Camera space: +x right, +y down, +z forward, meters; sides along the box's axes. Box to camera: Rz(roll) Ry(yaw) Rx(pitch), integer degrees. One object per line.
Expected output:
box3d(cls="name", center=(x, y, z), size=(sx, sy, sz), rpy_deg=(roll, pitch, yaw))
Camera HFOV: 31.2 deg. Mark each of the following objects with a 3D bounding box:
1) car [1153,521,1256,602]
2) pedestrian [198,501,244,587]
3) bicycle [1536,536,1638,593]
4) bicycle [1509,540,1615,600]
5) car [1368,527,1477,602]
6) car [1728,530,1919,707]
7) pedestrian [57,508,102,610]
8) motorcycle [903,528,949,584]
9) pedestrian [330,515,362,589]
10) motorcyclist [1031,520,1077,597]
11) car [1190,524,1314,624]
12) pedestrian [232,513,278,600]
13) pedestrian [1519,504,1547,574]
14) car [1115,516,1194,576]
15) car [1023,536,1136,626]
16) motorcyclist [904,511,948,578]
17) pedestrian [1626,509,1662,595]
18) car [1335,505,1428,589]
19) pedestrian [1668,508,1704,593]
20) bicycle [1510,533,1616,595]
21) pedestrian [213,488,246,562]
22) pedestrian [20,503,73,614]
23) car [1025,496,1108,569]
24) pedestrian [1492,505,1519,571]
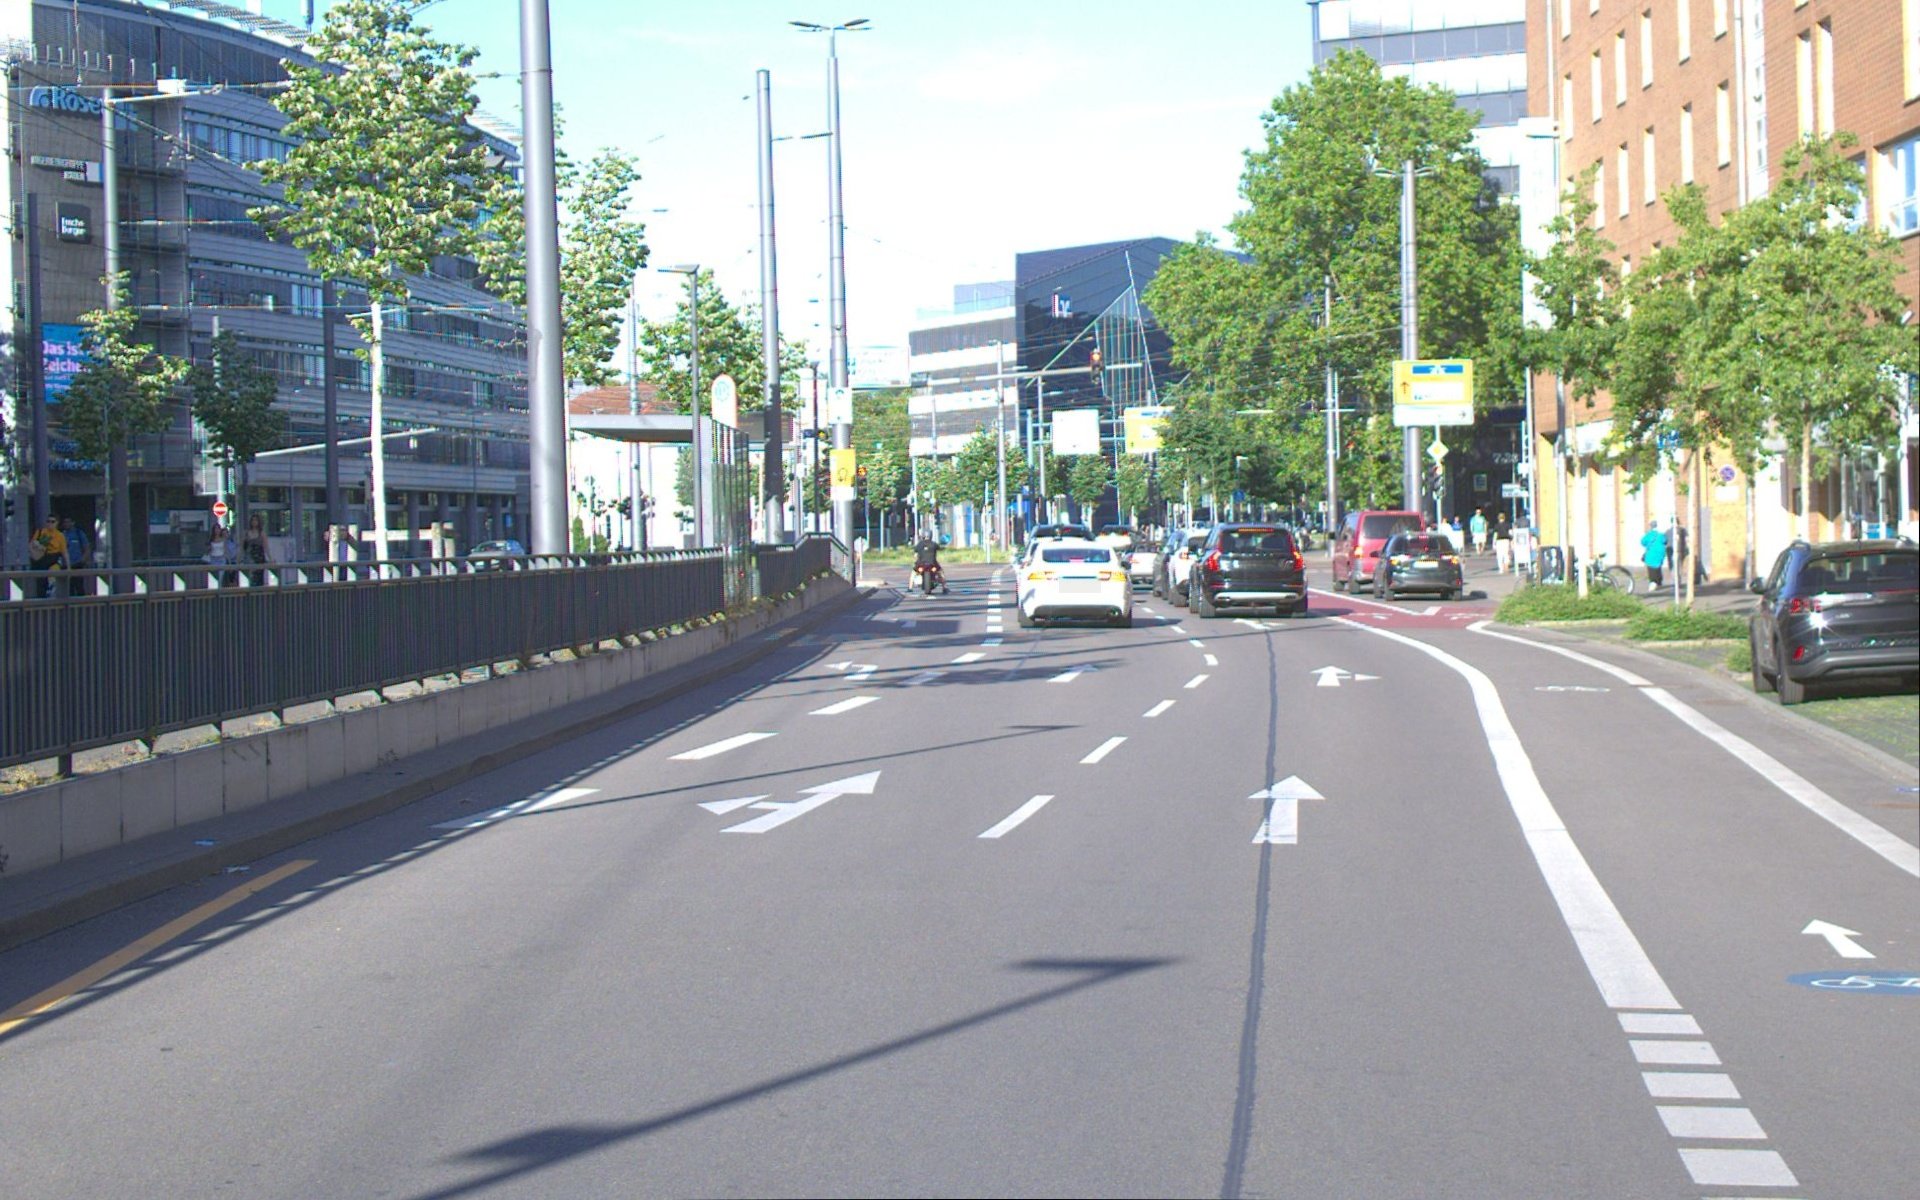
box3d(cls="car", center=(5.052, -0.823, 71.607), size=(1.851, 1.634, 4.379), rpy_deg=(0, 1, 0))
box3d(cls="pedestrian", center=(-14.029, -1.073, 65.254), size=(0.640, 1.602, 0.945), rpy_deg=(1, 1, 1))
box3d(cls="bicycle", center=(12.474, -0.713, 68.426), size=(1.946, 1.071, 0.625), rpy_deg=(-2, 1, 13))
box3d(cls="bicycle", center=(11.478, -0.576, 65.544), size=(1.946, 1.071, 0.554), rpy_deg=(-2, 1, 12))
box3d(cls="car", center=(10.222, -0.818, 76.215), size=(1.846, 1.555, 4.633), rpy_deg=(1, 1, 1))
box3d(cls="car", center=(8.901, 0.133, 34.880), size=(1.721, 1.631, 4.230), rpy_deg=(-2, 1, 7))
box3d(cls="pedestrian", center=(-14.947, -0.701, 58.374), size=(0.582, 1.732, 0.616), rpy_deg=(0, 1, 1))
box3d(cls="motorcycle", center=(-0.821, -1.089, 84.197), size=(1.019, 1.307, 2.914), rpy_deg=(1, 1, 1))
box3d(cls="pedestrian", center=(-15.171, -1.199, 84.932), size=(0.614, 1.811, 0.897), rpy_deg=(0, 1, 1))
box3d(cls="motorcyclist", center=(1.831, -0.811, 67.215), size=(0.837, 1.470, 1.236), rpy_deg=(-1, 1, 0))
box3d(cls="car", center=(5.388, -0.518, 64.008), size=(1.975, 1.753, 4.633), rpy_deg=(1, 1, 1))
box3d(cls="pedestrian", center=(-13.380, -0.828, 65.254), size=(0.640, 1.637, 0.945), rpy_deg=(1, 1, 1))
box3d(cls="pedestrian", center=(15.112, -1.606, 90.701), size=(0.606, 1.815, 0.748), rpy_deg=(-1, 1, 0))
box3d(cls="car", center=(4.990, -1.408, 88.712), size=(1.851, 1.492, 4.379), rpy_deg=(0, 2, 1))
box3d(cls="car", center=(1.993, -0.361, 58.563), size=(1.780, 1.409, 4.819), rpy_deg=(1, 1, 1))
box3d(cls="motorcyclist", center=(-0.822, -1.367, 84.223), size=(1.019, 1.598, 1.148), rpy_deg=(1, 1, 1))
box3d(cls="pedestrian", center=(14.687, -1.032, 73.805), size=(0.606, 1.815, 0.748), rpy_deg=(-1, 1, 0))
box3d(cls="car", center=(10.091, -1.294, 82.594), size=(1.860, 1.954, 4.000), rpy_deg=(-1, 1, 2))
box3d(cls="pedestrian", center=(15.747, -1.074, 74.610), size=(0.606, 1.815, 0.748), rpy_deg=(-1, 1, 0))
box3d(cls="bicycle", center=(11.587, -0.694, 66.061), size=(1.946, 1.133, 0.490), rpy_deg=(-2, 1, 12))
box3d(cls="pedestrian", center=(-15.748, -1.619, 74.120), size=(0.563, 1.603, 0.616), rpy_deg=(0, 1, 1))
box3d(cls="pedestrian", center=(-14.085, -0.641, 53.011), size=(0.640, 1.690, 0.541), rpy_deg=(1, 1, 1))
box3d(cls="car", center=(2.240, -1.450, 73.135), size=(1.693, 1.491, 4.409), rpy_deg=(1, 1, 1))
box3d(cls="pedestrian", center=(15.080, -1.712, 95.012), size=(0.606, 1.815, 0.748), rpy_deg=(-1, 1, 0))
